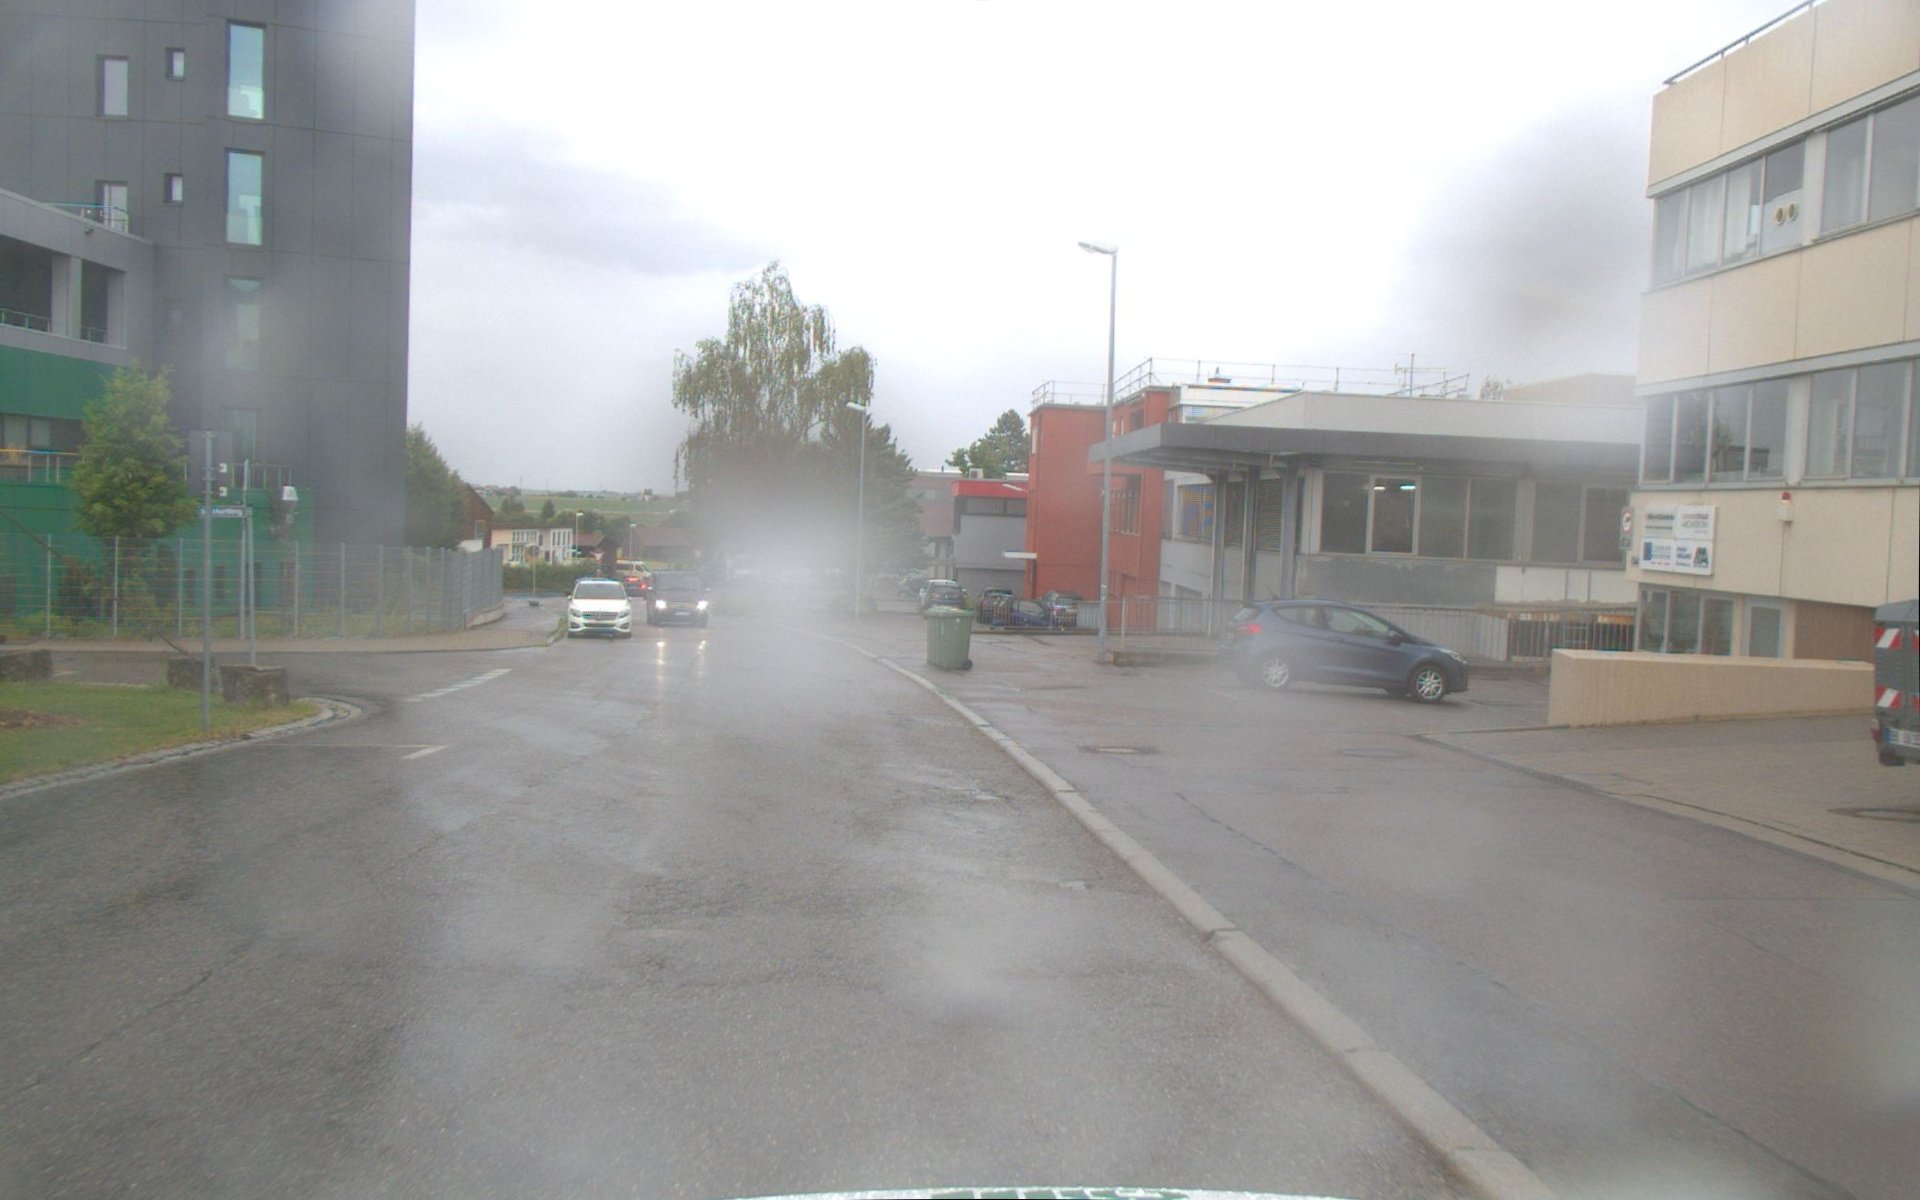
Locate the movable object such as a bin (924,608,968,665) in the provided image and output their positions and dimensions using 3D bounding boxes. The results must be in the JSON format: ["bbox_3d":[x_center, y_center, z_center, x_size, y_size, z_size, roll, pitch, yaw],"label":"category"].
[{"bbox_3d":[-0.282,0.705,32.378,0.793,1.095,0.580,1,0,-8],"label":"movable object such as a bin"}]

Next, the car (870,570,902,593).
[{"bbox_3d":[-5.074,-1.278,113.004,1.608,1.479,3.501,1,-1,-12],"label":"car"}]

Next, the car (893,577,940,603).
[{"bbox_3d":[-2.479,-0.552,93.086,2.500,1.375,1.240,2,0,-8],"label":"car"}]

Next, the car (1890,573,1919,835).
[{"bbox_3d":[8.546,0.693,9.855,4.990,1.642,1.924,1,1,-3],"label":"car"}]

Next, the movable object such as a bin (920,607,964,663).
[{"bbox_3d":[-0.360,0.691,32.977,0.787,1.098,0.623,1,0,-8],"label":"movable object such as a bin"}]

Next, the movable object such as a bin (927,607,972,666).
[{"bbox_3d":[-0.210,0.704,31.822,0.794,1.109,0.540,1,0,-8],"label":"movable object such as a bin"}]

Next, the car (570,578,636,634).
[{"bbox_3d":[-10.277,0.179,47.430,1.740,1.539,4.130,1,-1,-14],"label":"car"}]

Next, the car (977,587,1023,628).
[{"bbox_3d":[1.716,0.339,71.768,1.704,1.682,3.998,1,-1,-3],"label":"car"}]

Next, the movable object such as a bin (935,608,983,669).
[{"bbox_3d":[-0.029,0.708,30.608,0.791,1.112,0.708,1,0,-8],"label":"movable object such as a bin"}]

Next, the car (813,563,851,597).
[{"bbox_3d":[-8.248,-1.251,106.600,2.106,2.049,3.931,1,-1,-9],"label":"car"}]

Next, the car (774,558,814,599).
[{"bbox_3d":[-10.612,-1.364,105.520,2.153,2.502,3.990,1,-1,-11],"label":"car"}]

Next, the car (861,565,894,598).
[{"bbox_3d":[-5.371,-1.184,107.114,1.748,2.049,3.625,1,-1,-9],"label":"car"}]

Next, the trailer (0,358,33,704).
[{"bbox_3d":[-13.865,-0.876,21.093,4.103,4.277,1.998,1,0,36],"label":"trailer"}]

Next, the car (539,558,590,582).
[{"bbox_3d":[-33.891,-2.524,141.715,3.907,1.914,1.999,2,0,-2],"label":"car"}]

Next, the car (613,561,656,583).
[{"bbox_3d":[-36.065,-3.060,183.280,4.151,2.265,2.001,1,-1,3],"label":"car"}]

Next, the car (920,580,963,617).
[{"bbox_3d":[-0.822,-0.049,71.038,1.663,1.501,3.998,1,-1,-3],"label":"car"}]

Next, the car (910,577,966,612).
[{"bbox_3d":[-1.076,-0.232,78.509,2.028,1.579,3.990,1,-1,-10],"label":"car"}]

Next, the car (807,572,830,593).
[{"bbox_3d":[-9.628,-1.193,112.169,1.372,1.349,2.695,1,-1,-9],"label":"car"}]

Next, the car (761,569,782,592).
[{"bbox_3d":[-12.670,-1.302,111.017,1.266,1.449,2.541,1,-1,-9],"label":"car"}]

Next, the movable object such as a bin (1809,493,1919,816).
[{"bbox_3d":[8.463,0.386,11.710,4.168,2.147,1.476,1,0,-2],"label":"movable object such as a bin"}]

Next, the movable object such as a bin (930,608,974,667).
[{"bbox_3d":[-0.152,0.709,31.250,0.760,1.095,0.582,1,0,-8],"label":"movable object such as a bin"}]

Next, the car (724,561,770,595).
[{"bbox_3d":[-13.540,-1.381,104.938,2.229,2.049,3.980,1,-1,-18],"label":"car"}]

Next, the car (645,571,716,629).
[{"bbox_3d":[-9.946,-0.019,58.576,1.855,1.919,5.049,2,0,-17],"label":"car"}]

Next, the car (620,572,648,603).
[{"bbox_3d":[-22.333,-0.834,113.453,1.836,2.064,3.989,1,-1,-11],"label":"car"}]

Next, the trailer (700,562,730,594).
[{"bbox_3d":[-16.147,-1.431,108.818,1.819,2.049,3.991,2,0,-10],"label":"trailer"}]

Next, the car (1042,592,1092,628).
[{"bbox_3d":[4.548,0.436,71.056,1.694,1.446,3.998,1,-1,-3],"label":"car"}]

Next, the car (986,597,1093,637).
[{"bbox_3d":[2.538,0.537,53.354,3.331,1.183,1.791,2,0,-1],"label":"car"}]

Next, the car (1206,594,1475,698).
[{"bbox_3d":[6.057,0.731,26.597,3.817,1.408,1.819,3,-1,-3],"label":"car"}]
